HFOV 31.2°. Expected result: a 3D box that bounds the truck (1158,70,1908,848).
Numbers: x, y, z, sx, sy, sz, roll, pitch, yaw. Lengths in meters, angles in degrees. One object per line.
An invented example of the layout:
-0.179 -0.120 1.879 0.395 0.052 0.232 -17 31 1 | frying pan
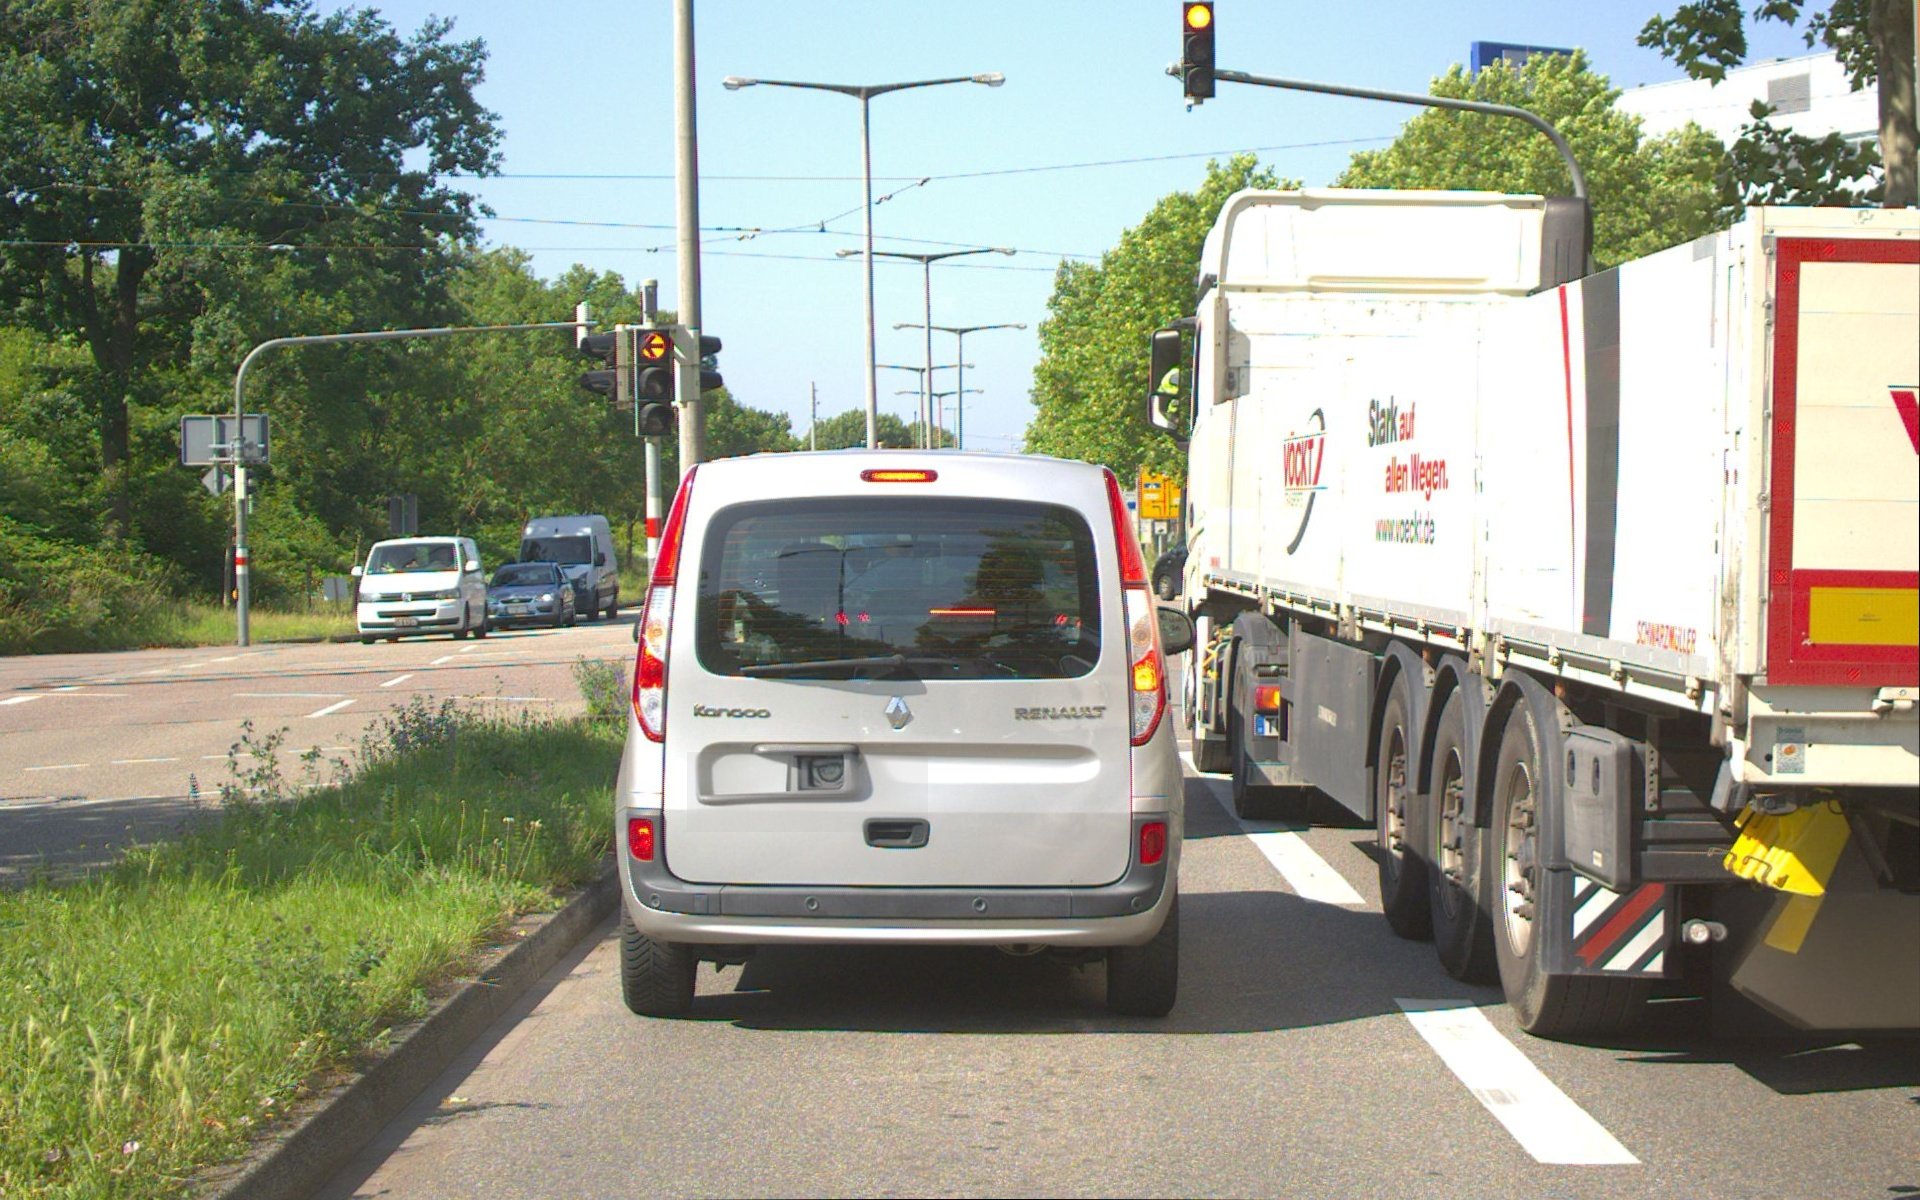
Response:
2.982 -0.723 20.334 3.071 3.745 7.477 0 1 -1 | truck

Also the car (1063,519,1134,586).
4.270 -1.462 106.317 1.993 2.007 4.000 0 1 -1 | car

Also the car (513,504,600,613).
-9.987 -1.031 85.427 2.058 2.605 5.871 0 1 -6 | car

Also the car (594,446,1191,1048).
-0.213 0.408 12.075 1.749 1.766 3.949 0 1 0 | car

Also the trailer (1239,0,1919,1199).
3.055 -0.588 13.199 3.016 3.728 12.240 0 1 0 | trailer

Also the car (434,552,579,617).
-10.102 -0.368 76.375 1.911 1.404 4.228 0 1 -27 | car

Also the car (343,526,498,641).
-9.686 -0.321 62.065 1.993 1.884 4.988 -3 1 -1 | car
